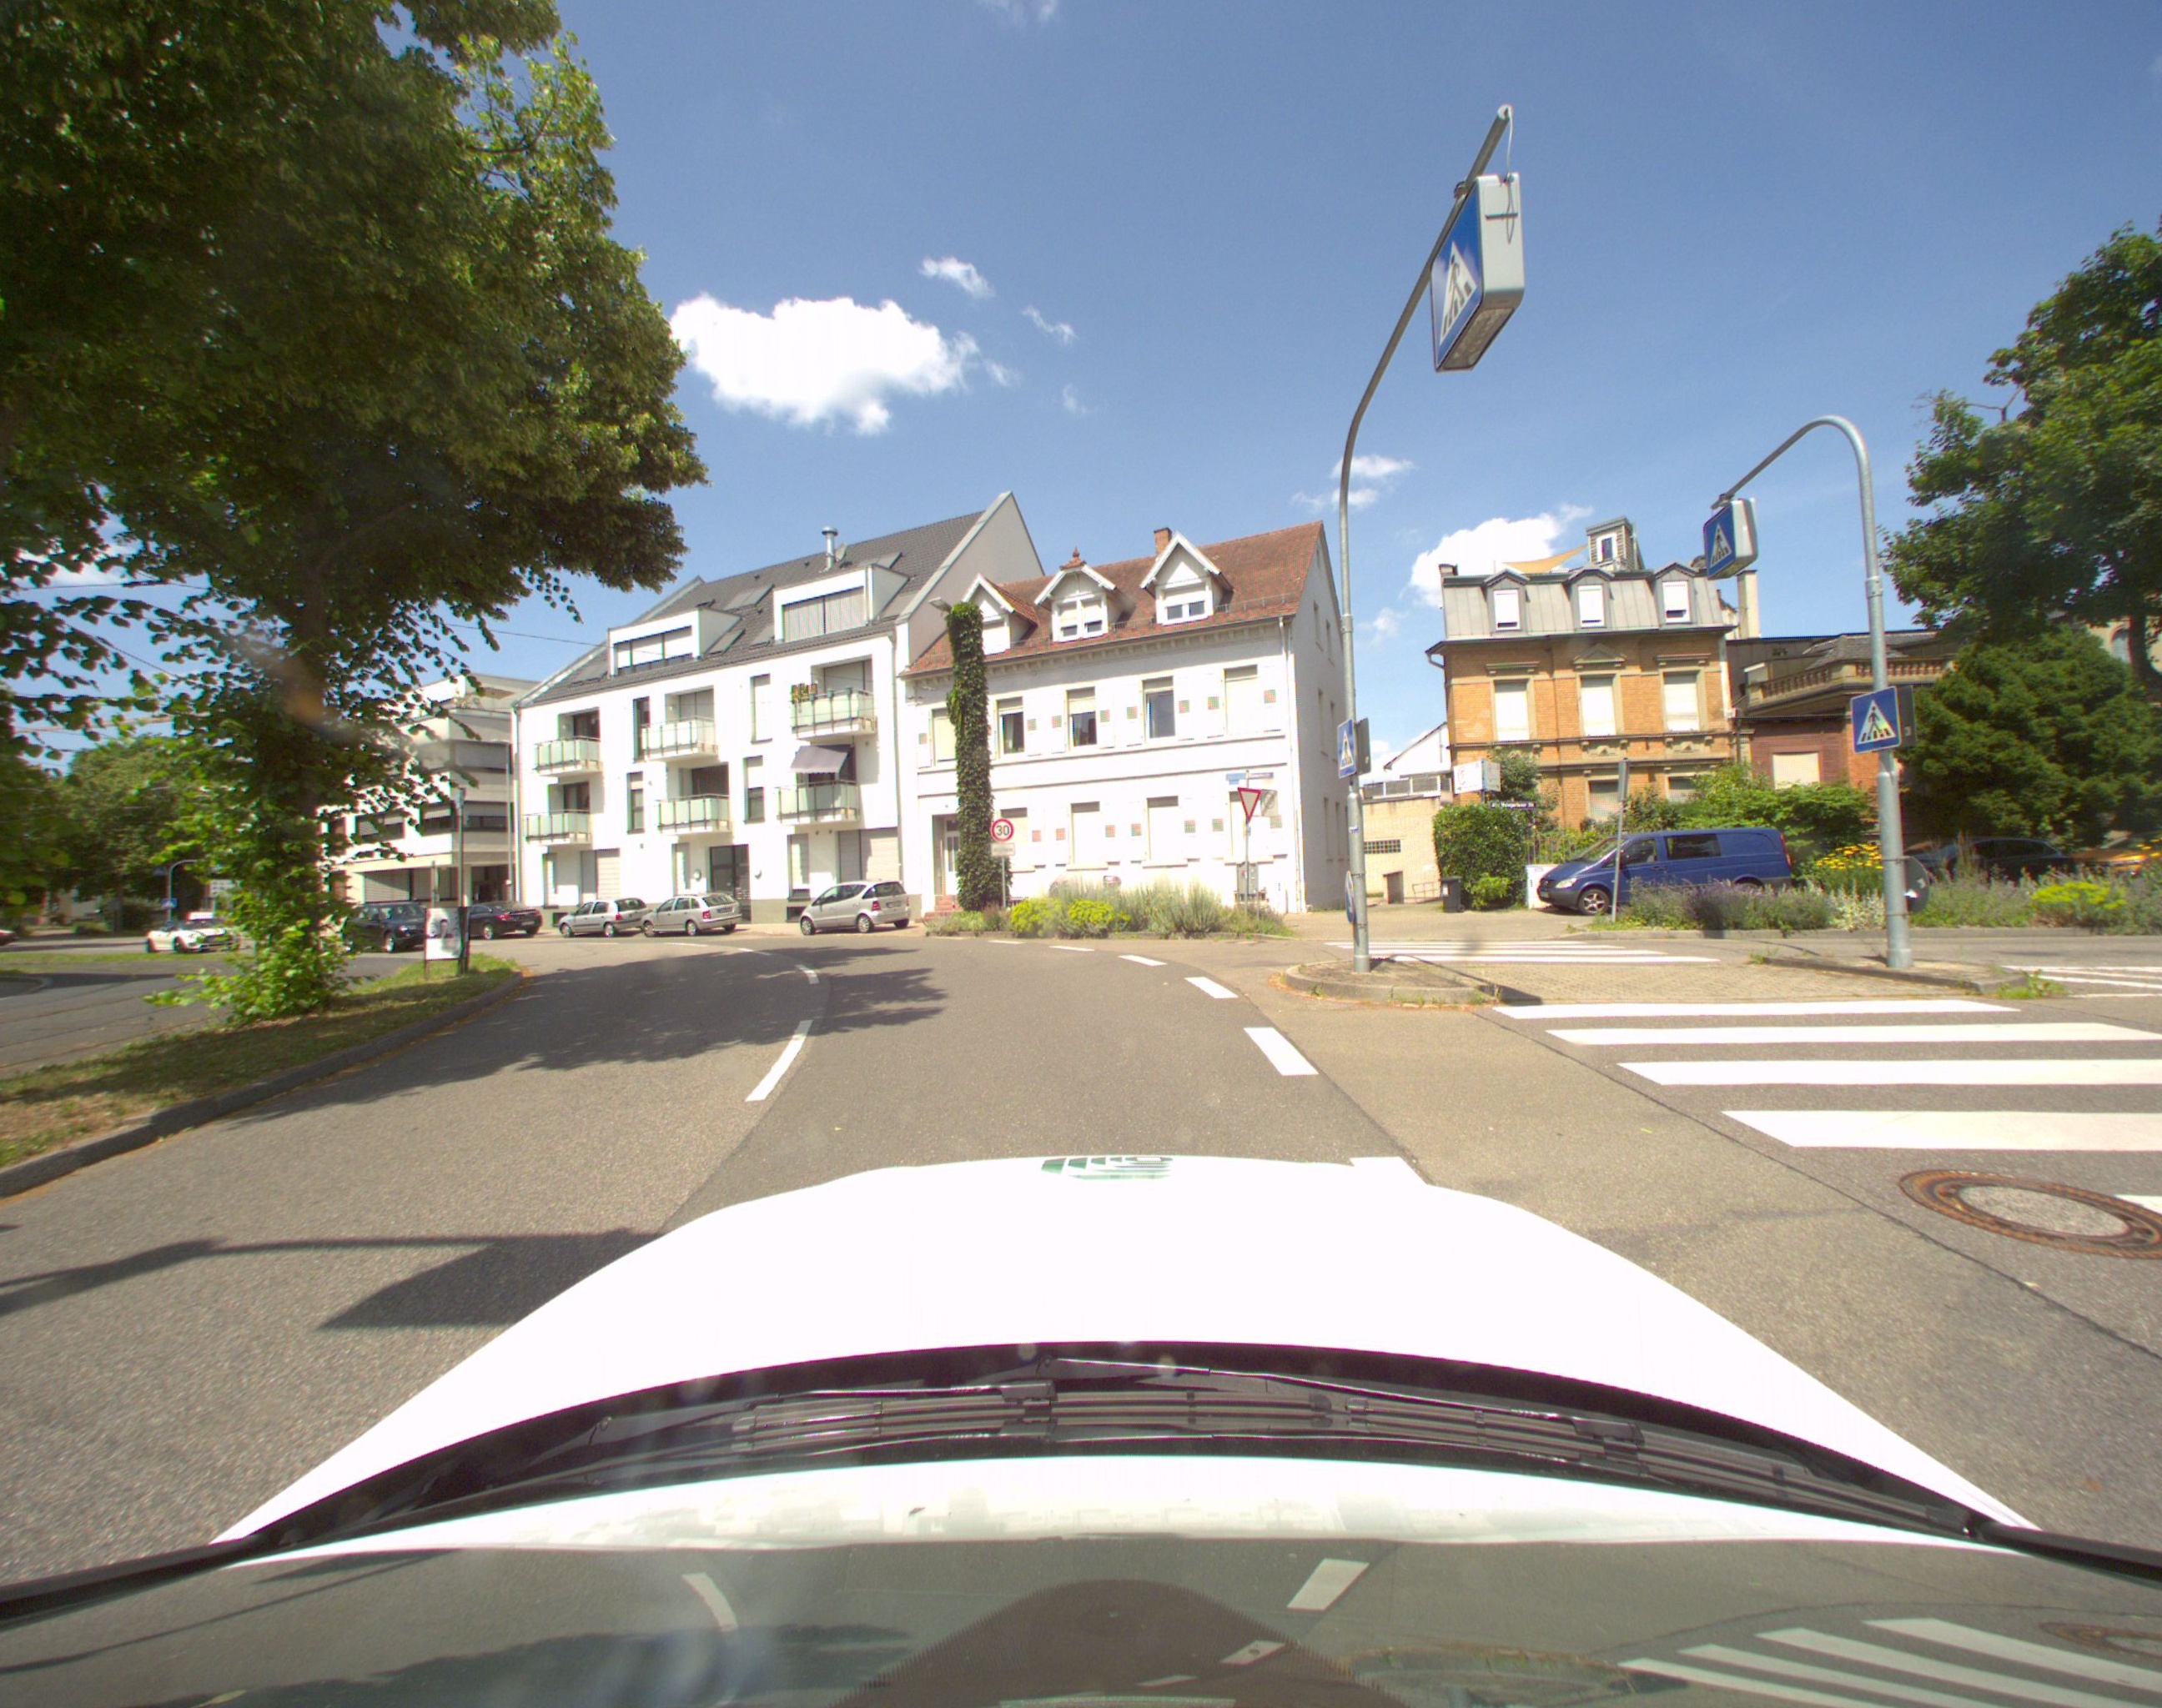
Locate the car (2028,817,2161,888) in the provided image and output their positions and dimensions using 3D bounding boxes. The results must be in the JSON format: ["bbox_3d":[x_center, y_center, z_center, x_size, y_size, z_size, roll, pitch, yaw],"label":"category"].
[{"bbox_3d":[25.536,-0.011,19.146,4.213,1.591,1.861,-1,-3,2],"label":"car"}]

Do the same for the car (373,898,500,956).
[{"bbox_3d":[-20.144,2.279,25.396,4.338,1.552,1.907,-4,-2,35],"label":"car"}]

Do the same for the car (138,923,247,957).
[{"bbox_3d":[-36.690,3.532,33.637,3.951,1.244,1.796,-2,-3,23],"label":"car"}]

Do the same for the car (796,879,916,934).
[{"bbox_3d":[-7.016,1.614,25.334,3.571,1.587,1.594,-2,-3,32],"label":"car"}]

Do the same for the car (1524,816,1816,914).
[{"bbox_3d":[13.737,0.264,19.361,5.193,1.947,2.089,-3,0,10],"label":"car"}]

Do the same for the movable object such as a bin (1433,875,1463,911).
[{"bbox_3d":[9.458,1.003,20.986,0.420,0.916,0.555,1,-3,-23],"label":"movable object such as a bin"}]

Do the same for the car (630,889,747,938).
[{"bbox_3d":[-13.864,2.073,28.734,3.859,1.465,1.672,-2,3,29],"label":"car"}]

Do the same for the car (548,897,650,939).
[{"bbox_3d":[-18.163,2.408,30.706,3.461,1.357,1.431,-2,3,23],"label":"car"}]
